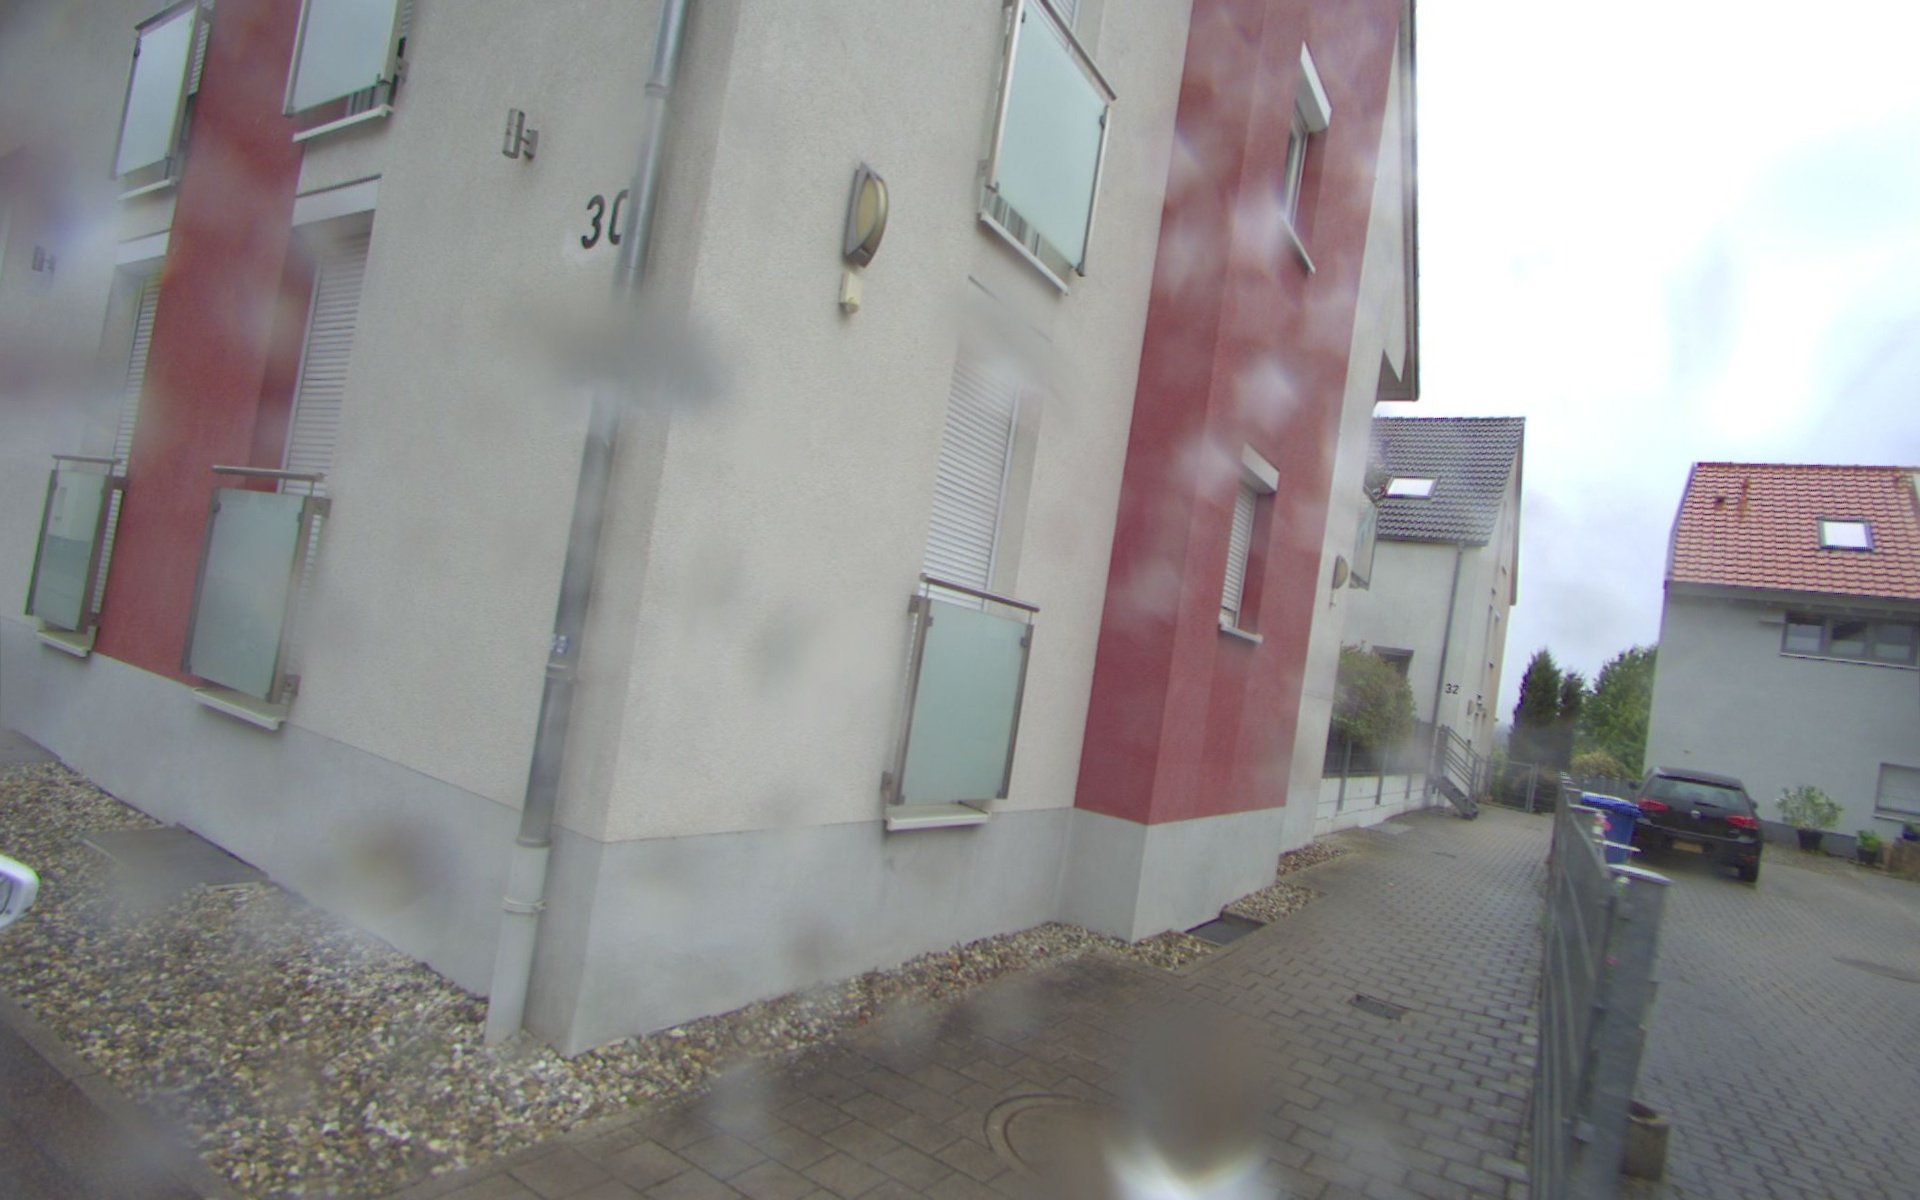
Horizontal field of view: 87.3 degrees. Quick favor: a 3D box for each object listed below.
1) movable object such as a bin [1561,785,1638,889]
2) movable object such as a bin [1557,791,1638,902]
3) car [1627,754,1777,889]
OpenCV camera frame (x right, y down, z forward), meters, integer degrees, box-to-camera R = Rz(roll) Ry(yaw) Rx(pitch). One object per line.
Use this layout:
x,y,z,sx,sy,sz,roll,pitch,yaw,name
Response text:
7.953,2.933,12.534,0.676,1.108,0.536,7,-2,31,movable object such as a bin
7.453,2.868,11.790,0.676,1.108,0.536,7,-2,31,movable object such as a bin
12.118,3.500,16.547,1.658,1.491,3.988,7,-1,36,car
